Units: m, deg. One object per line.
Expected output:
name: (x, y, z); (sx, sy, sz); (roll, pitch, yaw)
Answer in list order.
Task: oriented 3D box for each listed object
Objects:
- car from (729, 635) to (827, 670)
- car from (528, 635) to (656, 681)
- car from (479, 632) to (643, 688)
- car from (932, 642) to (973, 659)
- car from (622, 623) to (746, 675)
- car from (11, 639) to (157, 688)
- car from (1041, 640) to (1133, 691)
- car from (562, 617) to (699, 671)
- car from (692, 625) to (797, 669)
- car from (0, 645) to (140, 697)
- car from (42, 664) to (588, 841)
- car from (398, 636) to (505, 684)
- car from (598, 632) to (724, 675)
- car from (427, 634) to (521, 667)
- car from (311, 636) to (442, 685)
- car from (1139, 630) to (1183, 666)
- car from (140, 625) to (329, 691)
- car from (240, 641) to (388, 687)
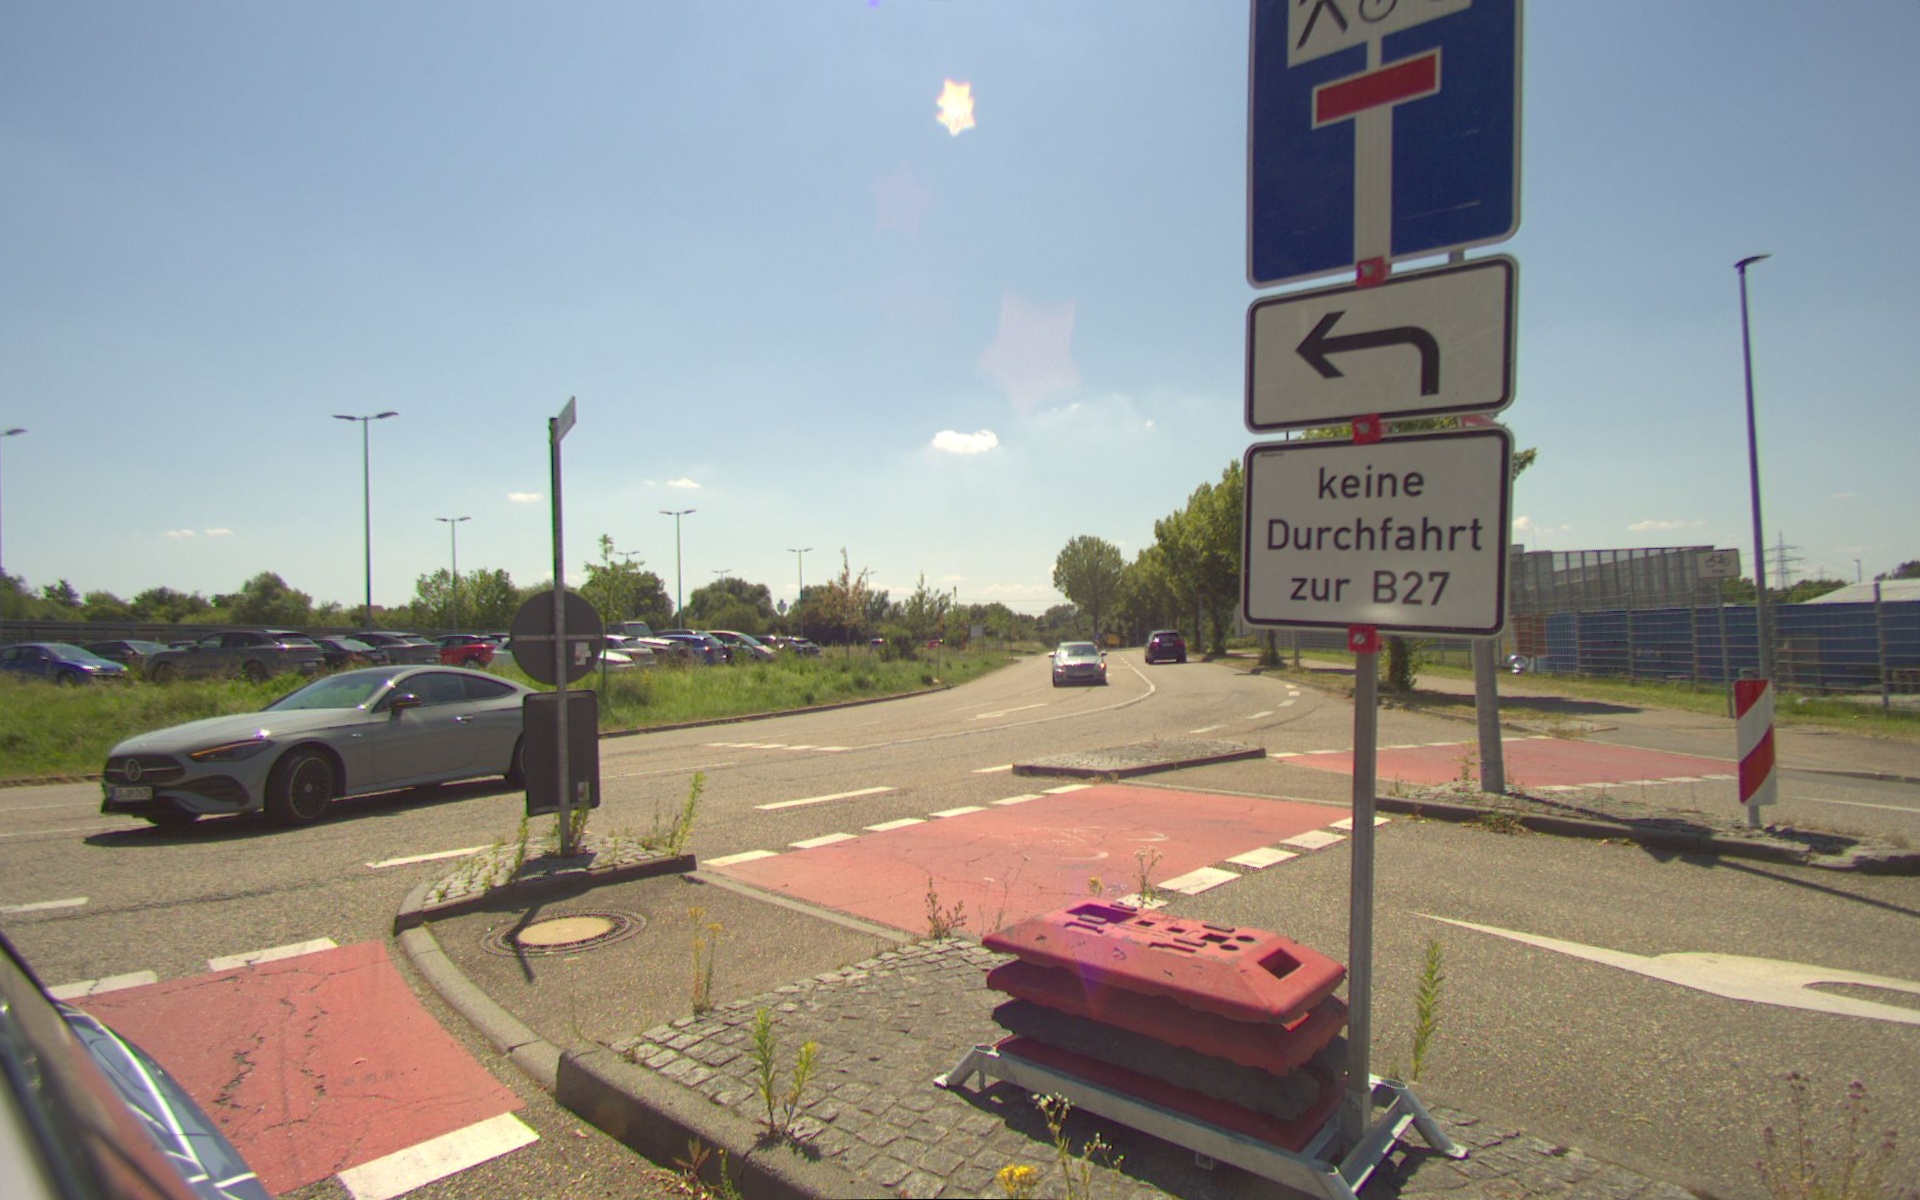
car: (-8.247, 2.378, 45.948); (3.955, 1.301, 1.903); (-4, -2, 9)
car: (-10.812, 1.690, 29.828); (3.232, 1.191, 1.498); (-2, -1, 8)
car: (-10.716, 1.605, 27.283); (3.833, 1.307, 1.570); (-2, -1, 9)
car: (-0.700, 5.103, 101.990); (3.948, 1.361, 1.645); (-4, -2, 4)
car: (-10.169, 1.802, 37.428); (3.990, 1.440, 1.685); (-7, -2, 5)
car: (-28.549, 2.049, 33.034); (3.595, 1.511, 1.595); (-1, -2, 6)
car: (4.340, 2.163, 34.011); (1.665, 1.385, 4.458); (-6, -3, 25)
car: (-10.521, 1.408, 32.428); (3.711, 1.539, 1.869); (-2, -1, 13)
car: (-8.557, 1.869, 40.393); (3.801, 1.636, 1.614); (-1, -2, 5)
car: (-26.625, 2.077, 29.830); (3.589, 1.457, 1.652); (-1, -2, 0)
car: (-6.215, 1.411, 10.536); (1.884, 1.394, 4.601); (-4, -5, 20)
car: (-19.750, 2.310, 39.367); (3.376, 1.586, 1.520); (-4, -2, 4)
car: (-10.342, 1.839, 35.133); (3.897, 1.267, 1.583); (-2, -1, 5)
car: (-22.767, 2.358, 47.461); (3.595, 1.511, 1.766); (-1, -2, 6)
car: (-20.123, 2.065, 34.987); (3.595, 1.610, 1.766); (-1, -2, 6)
car: (10.110, 2.393, 51.214); (1.849, 1.647, 4.587); (-3, -2, 8)
car: (-21.306, 1.702, 29.806); (4.548, 1.703, 1.773); (-3, -3, 6)
car: (-20.488, 2.023, 32.157); (3.802, 1.373, 1.649); (-1, -2, 6)
